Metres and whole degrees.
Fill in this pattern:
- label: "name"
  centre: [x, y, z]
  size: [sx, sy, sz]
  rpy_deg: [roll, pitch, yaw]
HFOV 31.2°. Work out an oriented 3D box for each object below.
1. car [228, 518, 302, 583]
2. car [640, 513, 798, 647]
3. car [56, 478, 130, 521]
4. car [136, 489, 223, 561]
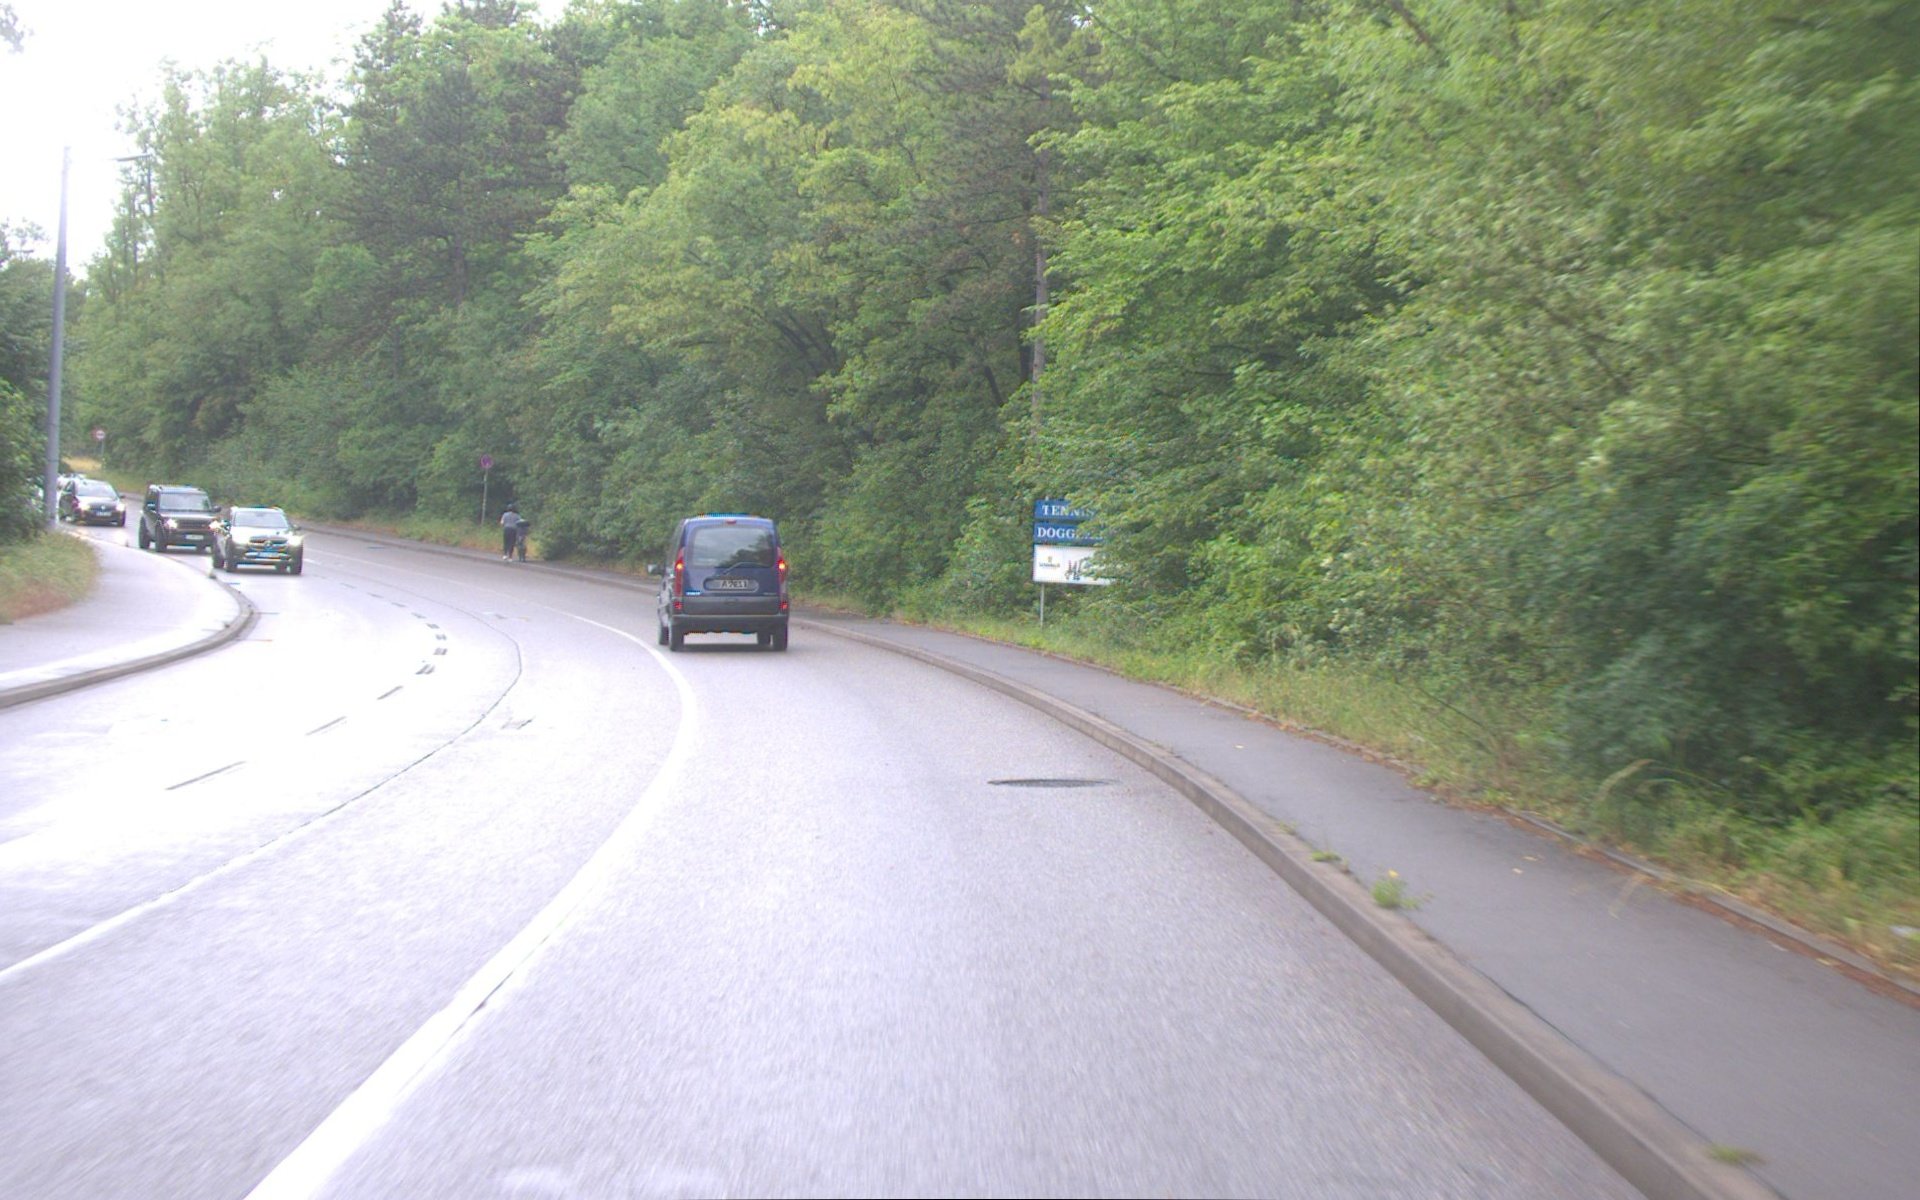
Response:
- label: "car"
  centre: [-18.006, -1.297, 89.148]
  size: [1.808, 1.589, 4.519]
  rpy_deg: [1, 1, -11]
- label: "car"
  centre: [-3.400, -0.318, 47.952]
  size: [1.826, 1.787, 4.001]
  rpy_deg: [0, 1, -9]
- label: "car"
  centre: [-29.885, -3.464, 118.430]
  size: [1.826, 1.435, 4.001]
  rpy_deg: [1, 1, -23]
- label: "car"
  centre: [-23.151, -2.206, 101.903]
  size: [1.826, 1.837, 4.711]
  rpy_deg: [0, -2, -21]
